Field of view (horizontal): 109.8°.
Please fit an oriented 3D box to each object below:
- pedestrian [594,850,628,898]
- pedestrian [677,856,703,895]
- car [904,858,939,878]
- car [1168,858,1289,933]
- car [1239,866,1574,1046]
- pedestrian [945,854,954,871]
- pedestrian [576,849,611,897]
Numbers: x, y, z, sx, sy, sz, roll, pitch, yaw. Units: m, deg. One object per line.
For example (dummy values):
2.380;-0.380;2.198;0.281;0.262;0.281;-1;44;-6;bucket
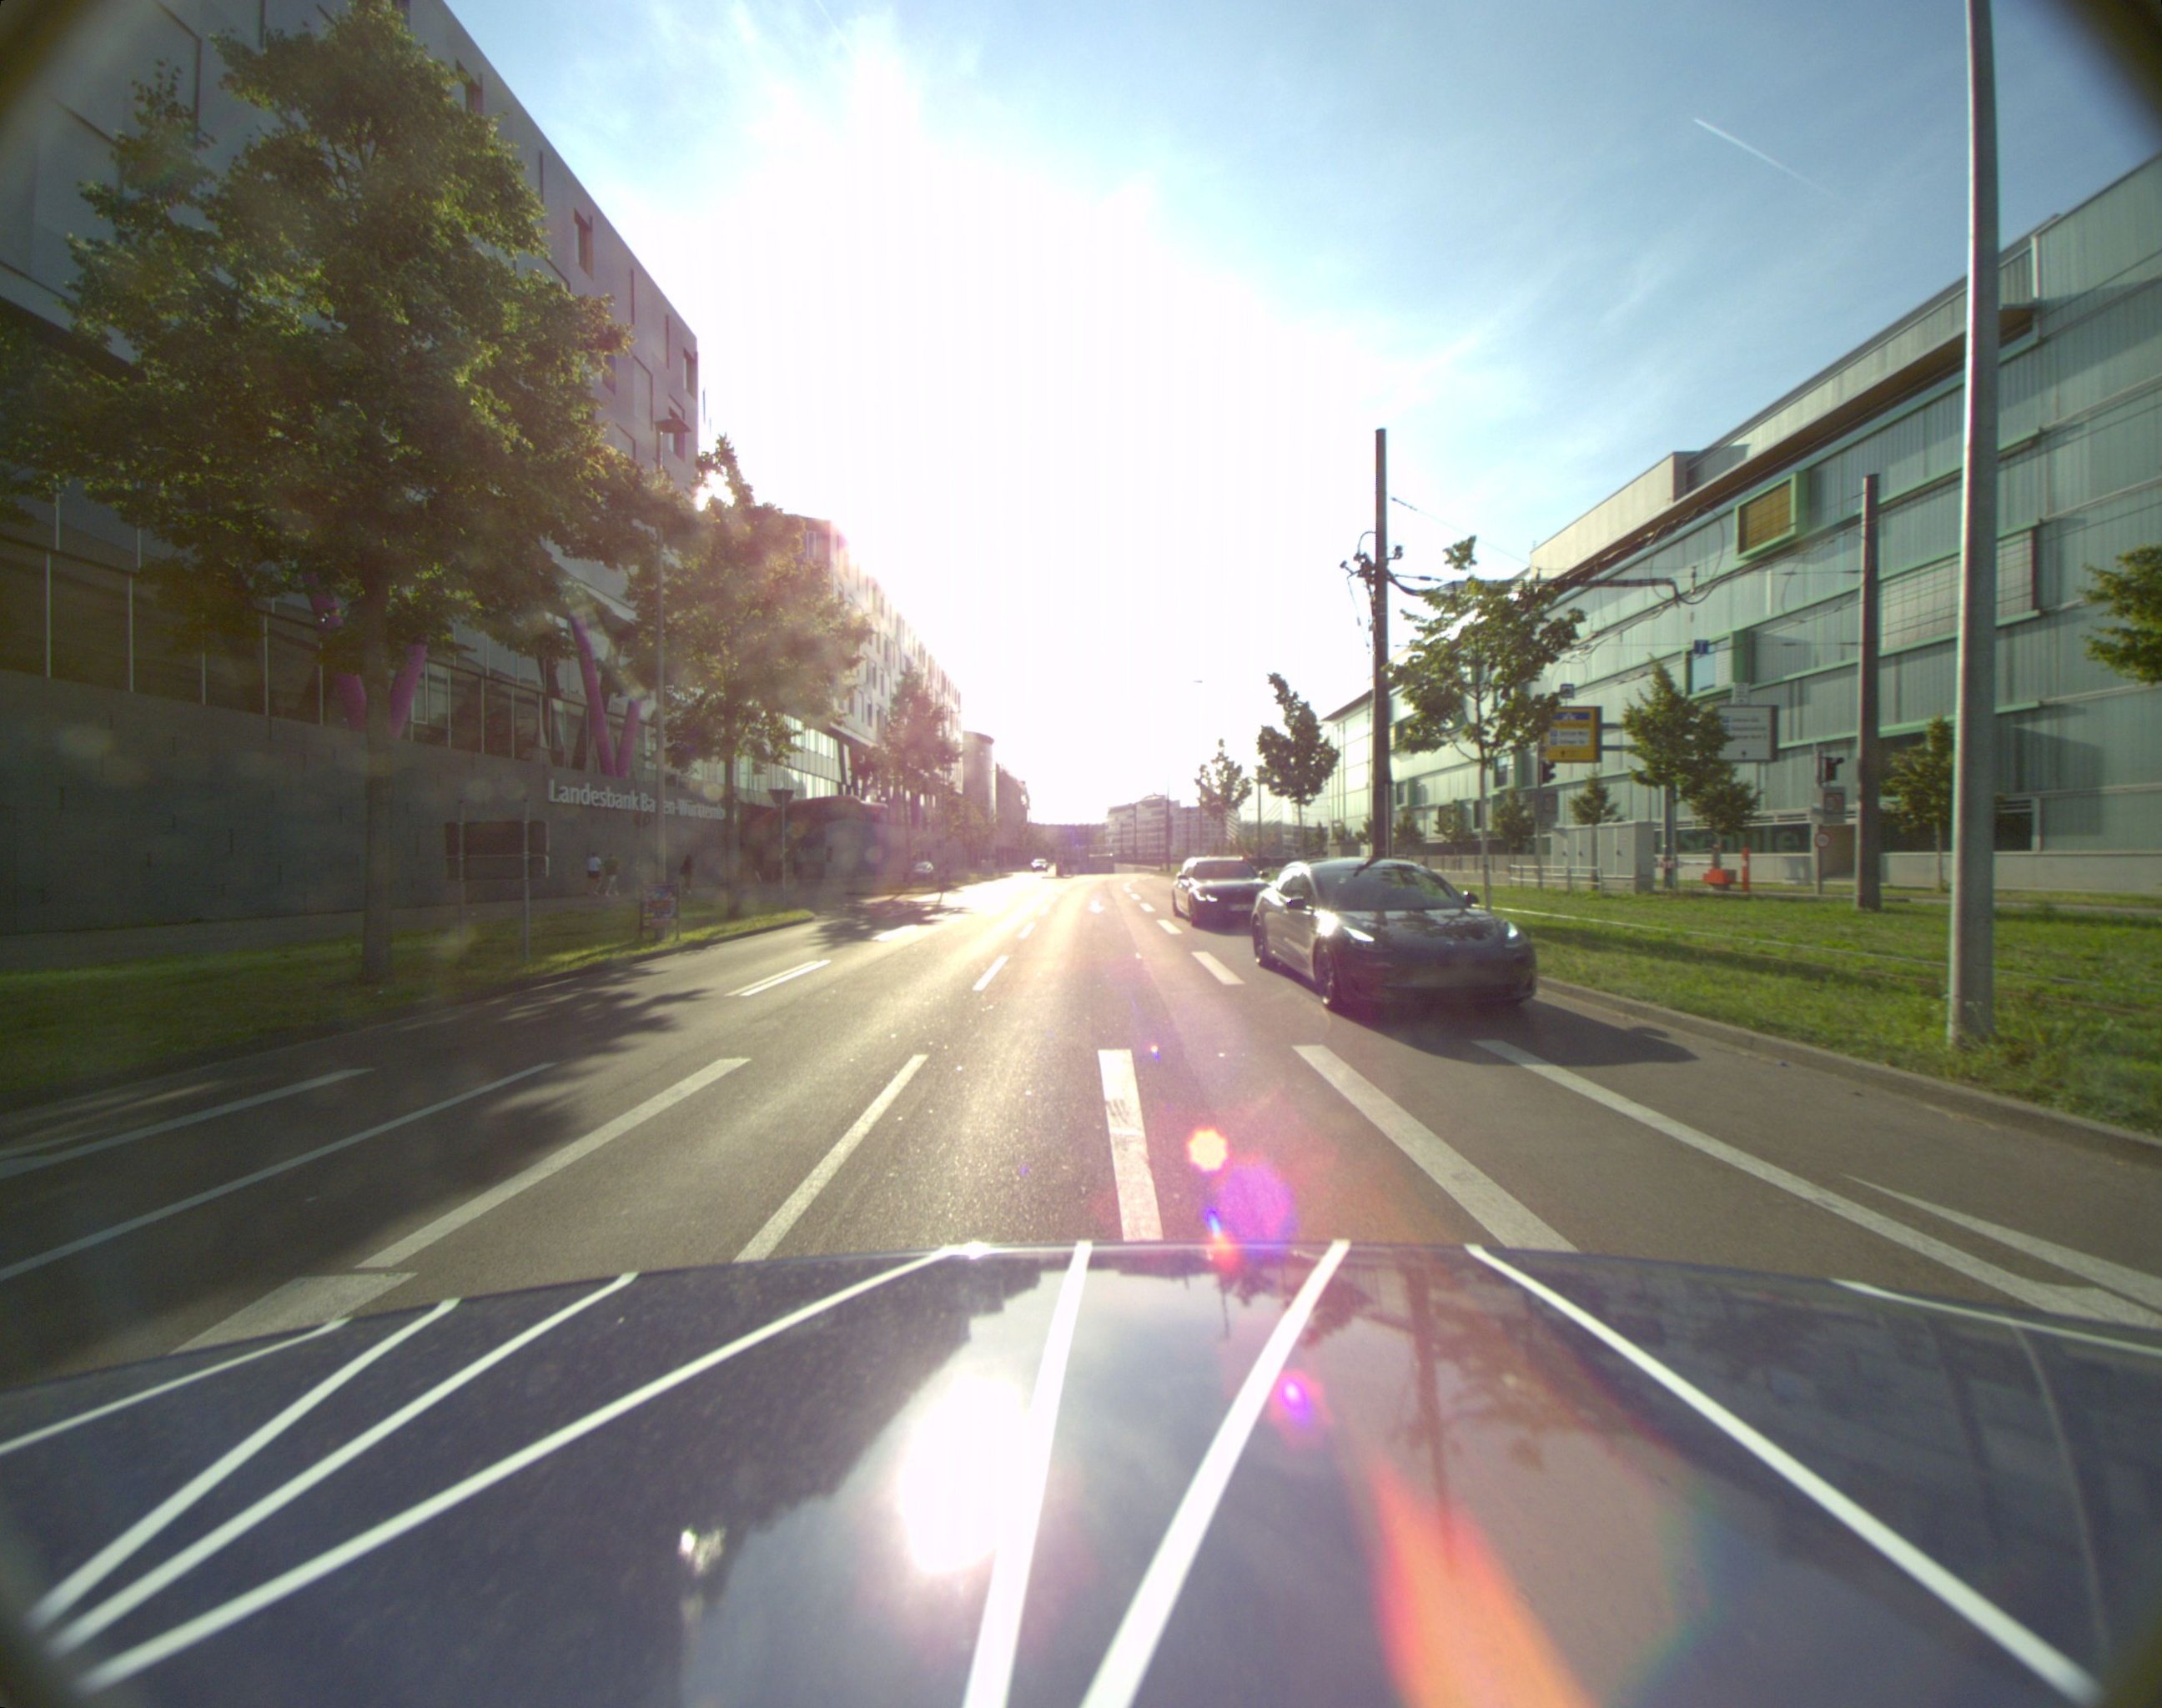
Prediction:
-18.122;0.768;29.339;0.756;1.783;0.844;1;0;0;pedestrian
-16.735;0.900;32.558;0.695;1.630;0.736;-1;2;0;pedestrian
-11.602;0.984;55.603;1.696;1.382;4.199;0;-1;-1;car
3.164;0.834;17.245;1.894;1.418;4.473;-2;0;1;car
3.152;0.881;8.474;1.894;1.377;4.335;-2;0;1;car
-13.700;0.914;79.210;0.725;1.776;0.771;0;1;0;pedestrian
-18.803;0.731;29.317;0.770;1.814;0.853;1;0;0;pedestrian
